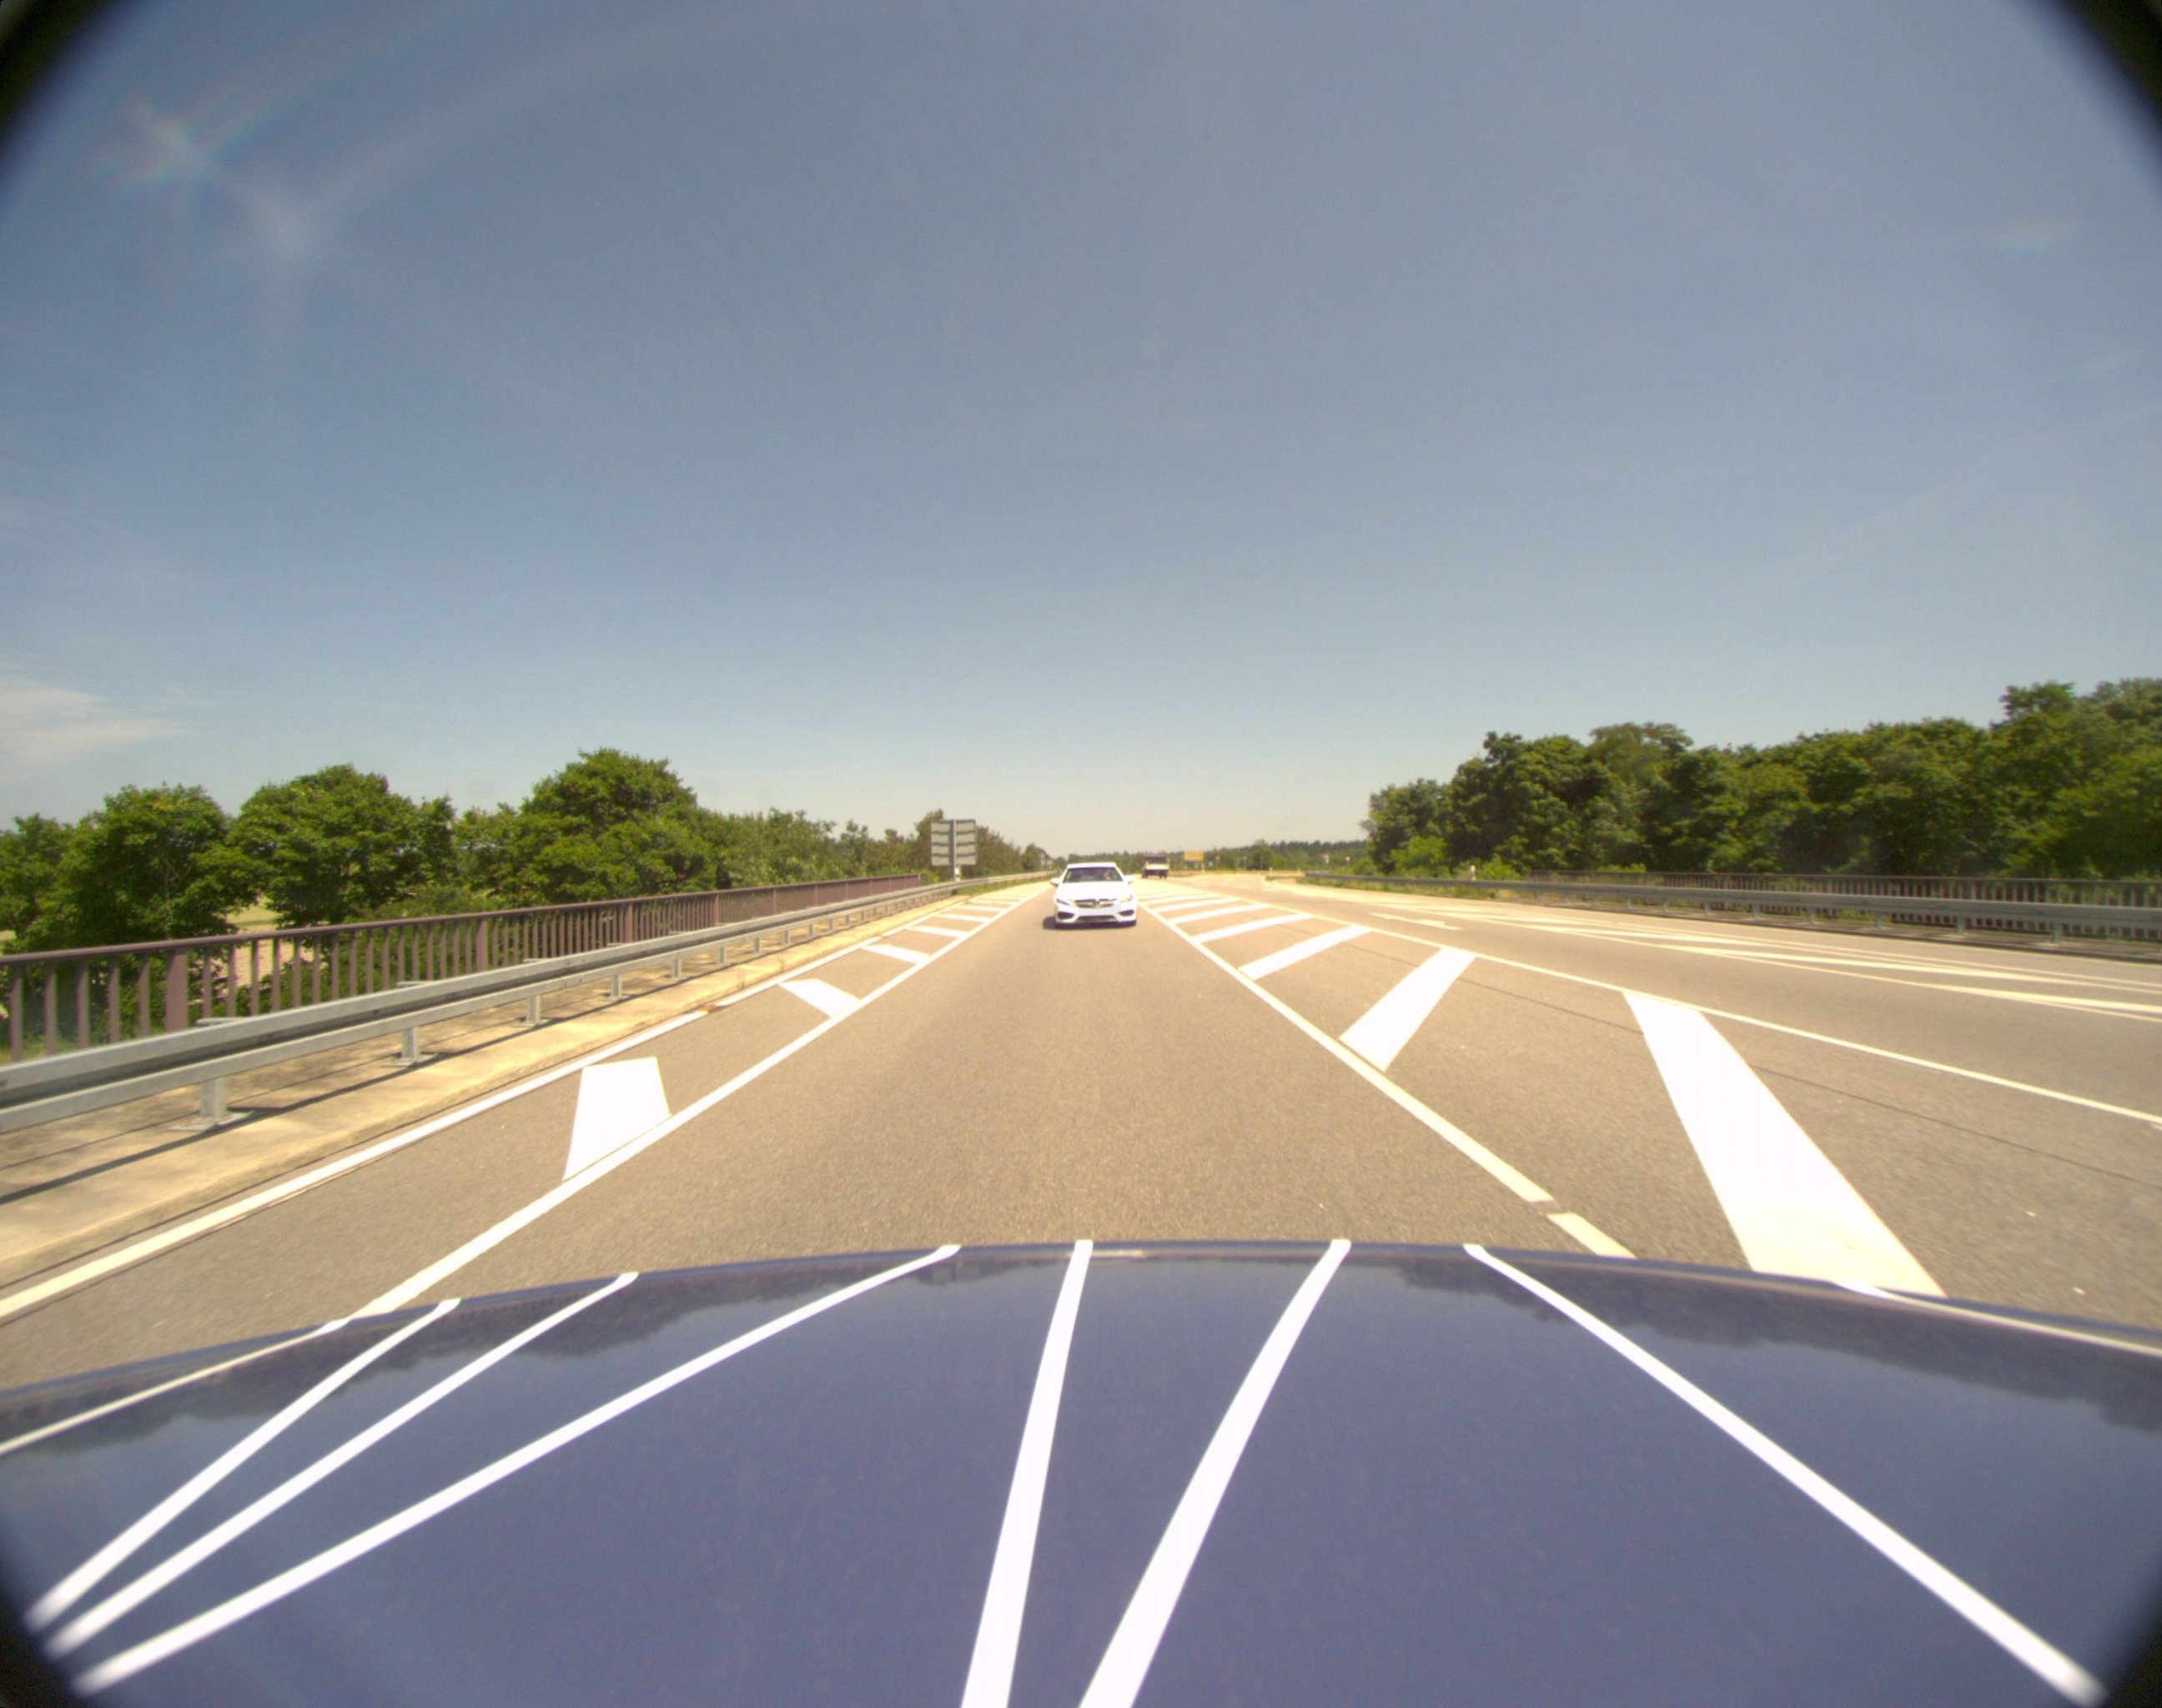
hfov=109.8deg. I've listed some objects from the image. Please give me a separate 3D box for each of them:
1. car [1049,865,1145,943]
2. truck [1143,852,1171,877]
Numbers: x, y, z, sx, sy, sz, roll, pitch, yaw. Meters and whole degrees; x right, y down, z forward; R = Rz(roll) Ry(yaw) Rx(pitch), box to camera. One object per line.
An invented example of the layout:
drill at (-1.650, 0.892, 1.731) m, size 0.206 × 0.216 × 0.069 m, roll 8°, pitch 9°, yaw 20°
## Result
car at (0.330, 0.996, 16.700) m, size 1.813 × 1.407 × 4.110 m, roll -2°, pitch 0°, yaw 1°
truck at (7.258, 0.980, 72.906) m, size 2.212 × 2.229 × 5.373 m, roll -1°, pitch 0°, yaw 1°
